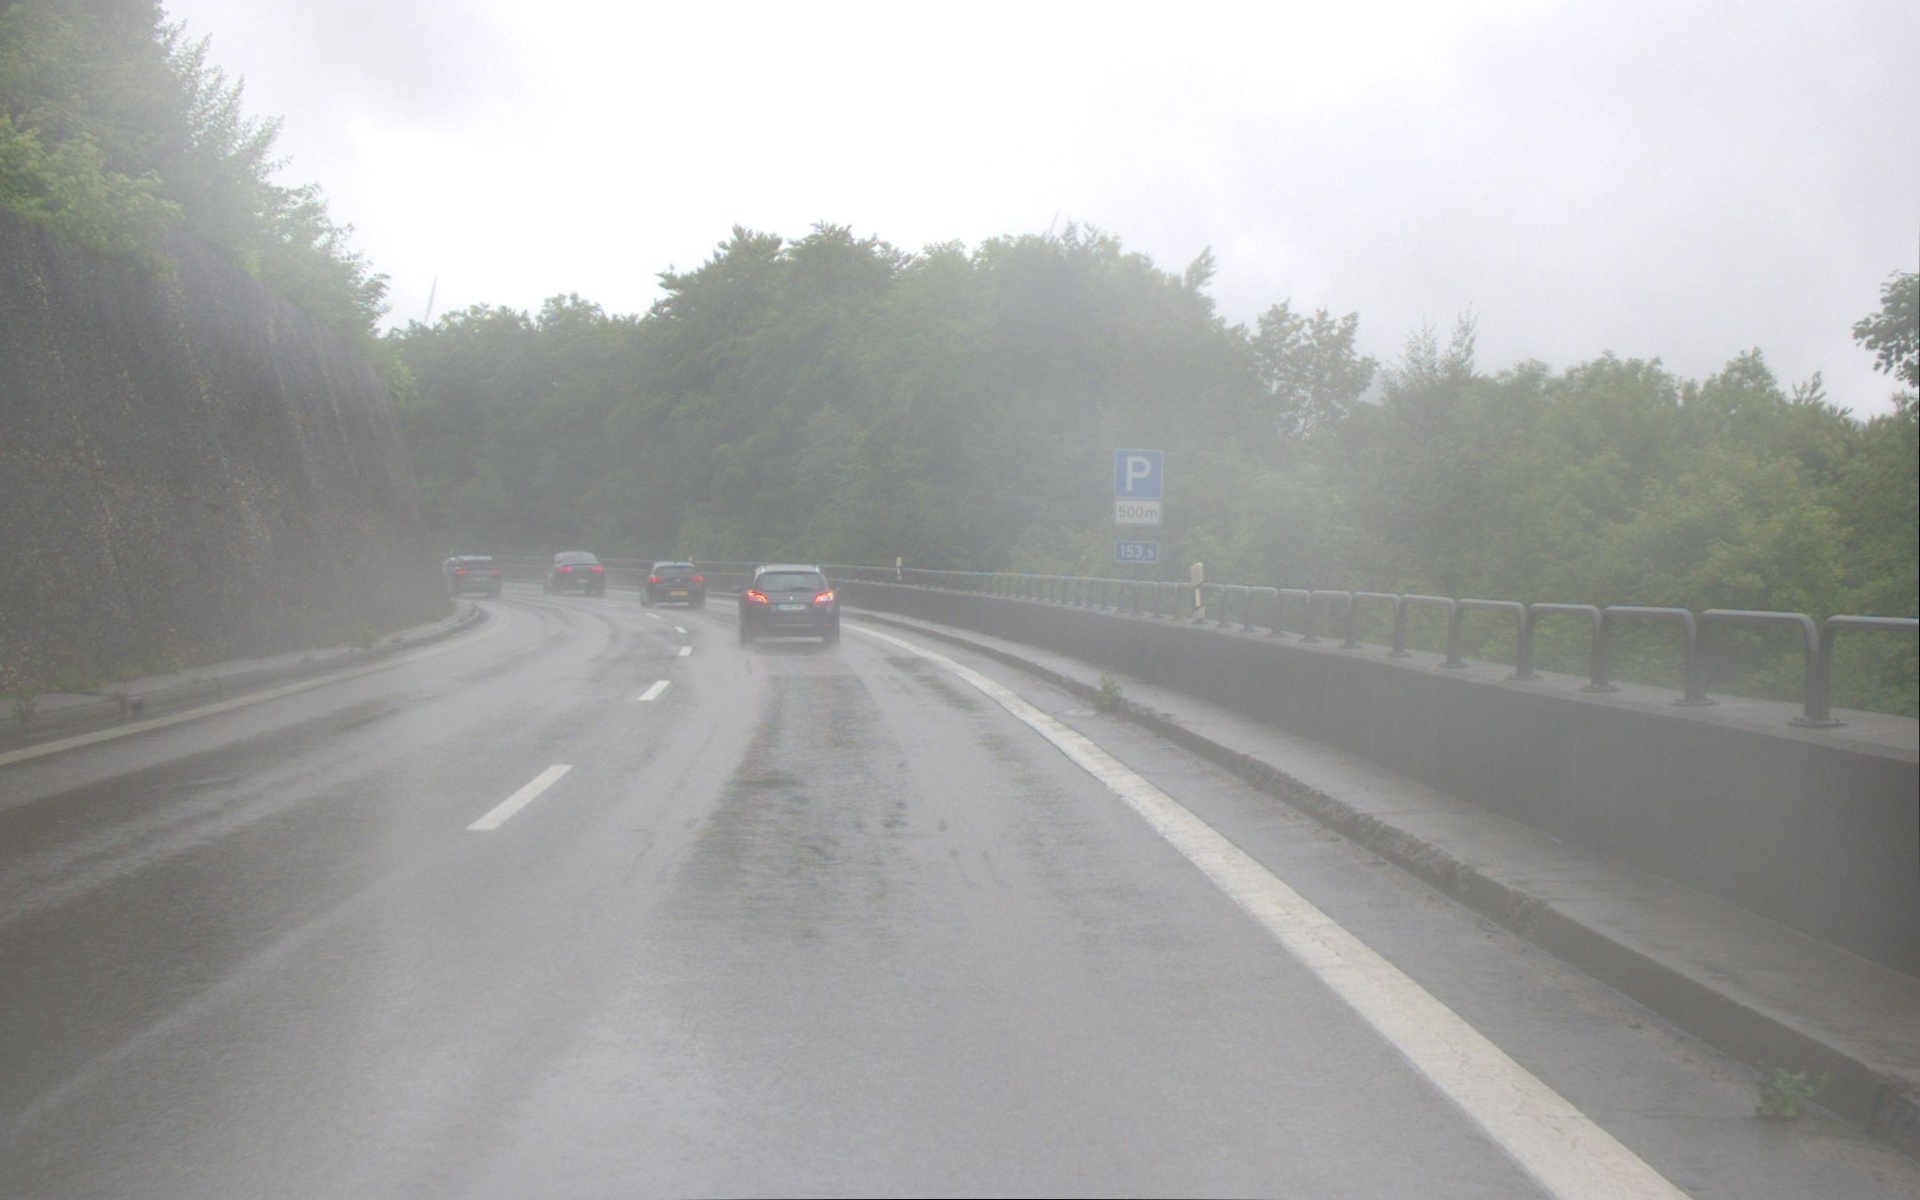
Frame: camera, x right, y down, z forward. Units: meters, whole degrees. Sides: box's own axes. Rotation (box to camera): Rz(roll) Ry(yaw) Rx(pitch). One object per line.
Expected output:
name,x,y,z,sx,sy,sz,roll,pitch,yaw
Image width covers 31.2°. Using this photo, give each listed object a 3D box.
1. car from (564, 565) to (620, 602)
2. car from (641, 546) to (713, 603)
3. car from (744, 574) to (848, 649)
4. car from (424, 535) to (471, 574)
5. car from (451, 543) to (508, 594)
car,-14.515,-0.658,135.414,1.800,1.462,4.001,0,1,-12
car,-8.896,-0.801,107.903,1.993,1.744,4.001,1,0,-8
car,-3.013,0.181,62.643,1.800,1.303,4.001,0,1,-4
car,-27.287,-2.395,182.936,1.993,2.007,4.001,1,0,-15
car,-18.536,-1.205,132.561,1.993,1.897,4.001,1,0,-10
